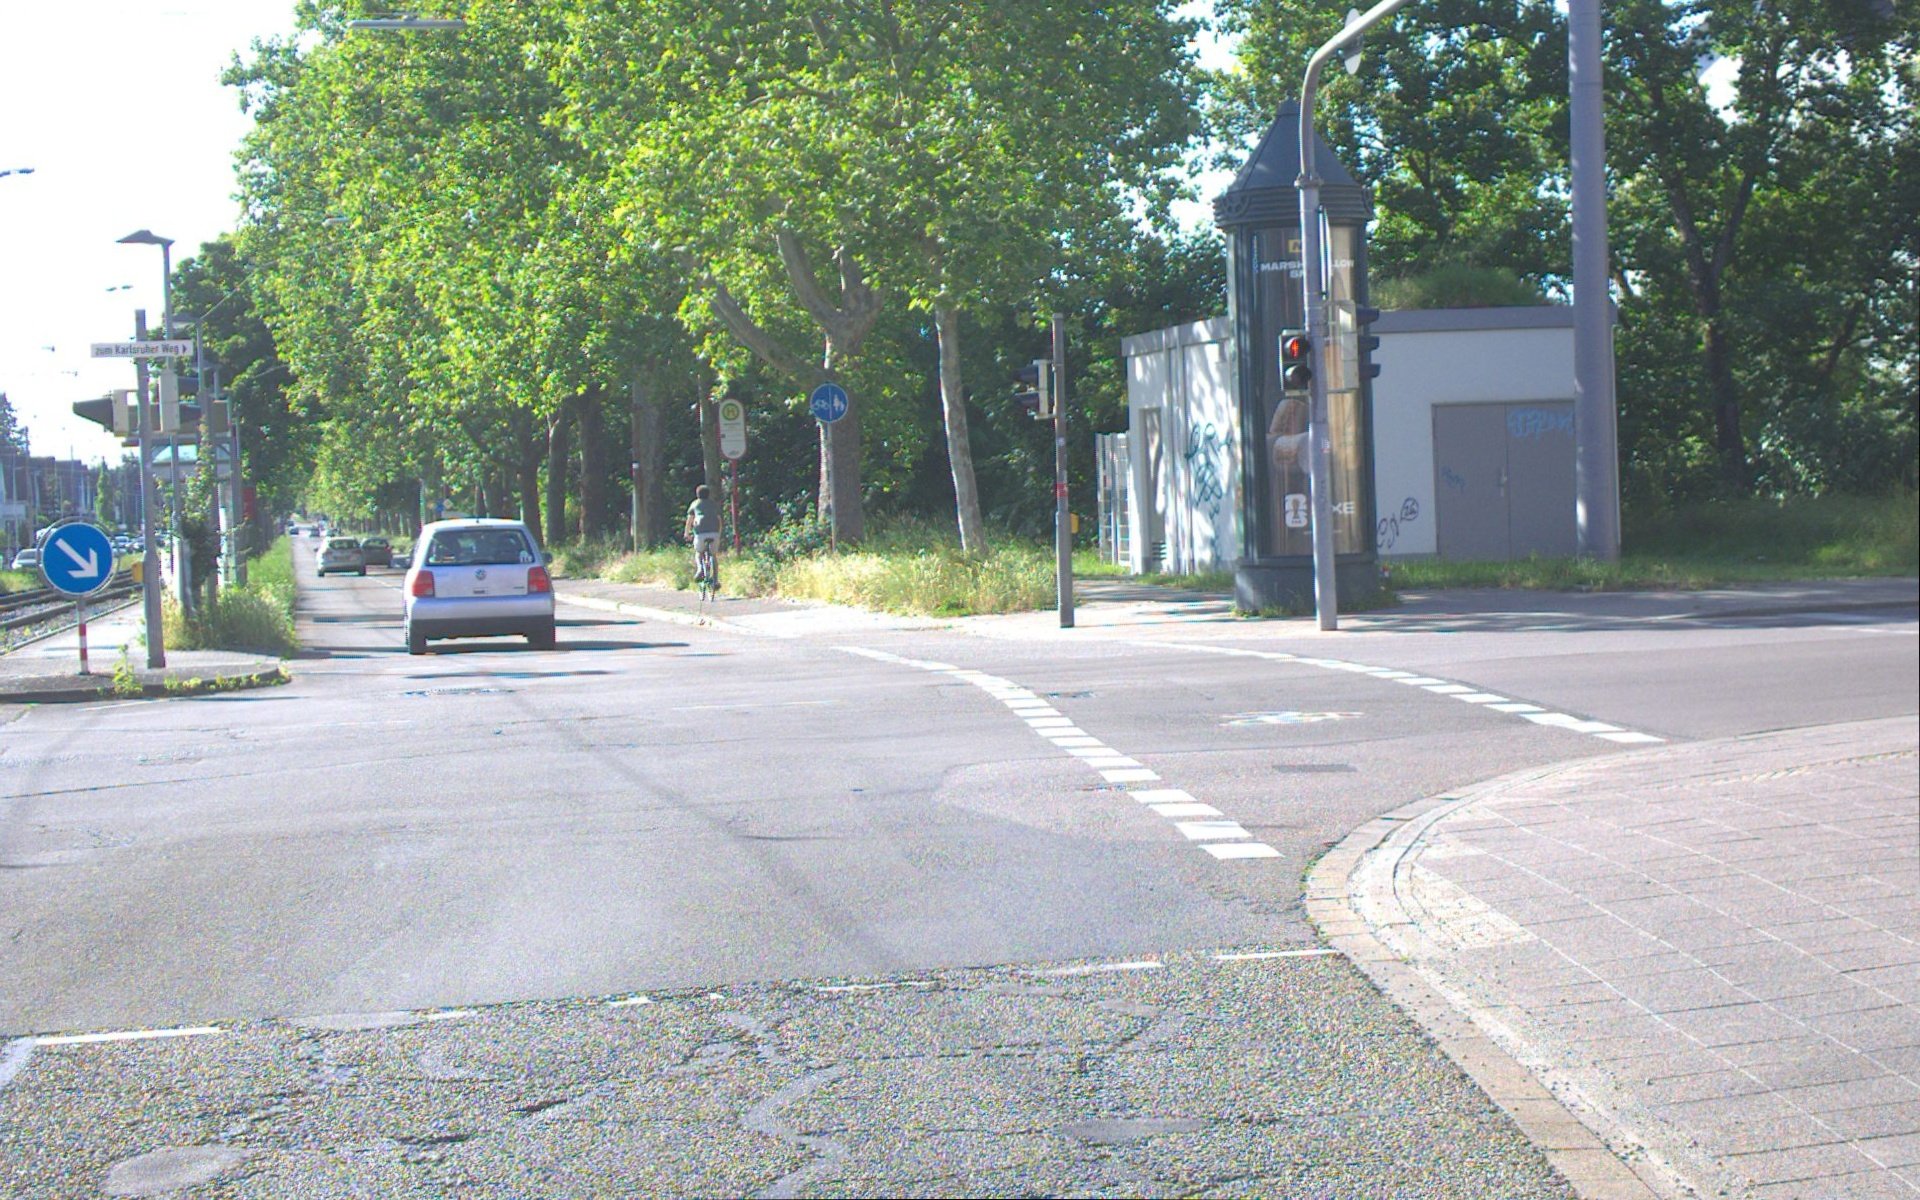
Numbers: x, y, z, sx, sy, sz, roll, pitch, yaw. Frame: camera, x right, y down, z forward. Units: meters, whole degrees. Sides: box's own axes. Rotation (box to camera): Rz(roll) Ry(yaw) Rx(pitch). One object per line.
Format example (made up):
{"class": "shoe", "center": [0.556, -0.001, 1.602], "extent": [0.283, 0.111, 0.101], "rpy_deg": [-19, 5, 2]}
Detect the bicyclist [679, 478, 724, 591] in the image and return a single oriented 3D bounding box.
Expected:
{"class": "bicyclist", "center": [-4.131, -1.047, 54.947], "extent": [0.534, 1.763, 0.713], "rpy_deg": [-3, 1, -13]}

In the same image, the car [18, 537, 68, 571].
{"class": "car", "center": [-45.676, -2.320, 171.297], "extent": [1.920, 1.561, 4.001], "rpy_deg": [-3, 2, -9]}

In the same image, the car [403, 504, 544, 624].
{"class": "car", "center": [-6.914, -0.536, 48.632], "extent": [1.750, 1.599, 3.751], "rpy_deg": [1, 1, -11]}

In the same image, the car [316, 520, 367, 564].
{"class": "car", "center": [-23.449, -2.209, 130.259], "extent": [1.750, 1.599, 3.582], "rpy_deg": [-3, 2, -12]}

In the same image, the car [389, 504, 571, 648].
{"class": "car", "center": [-5.329, -0.291, 38.215], "extent": [1.867, 1.481, 3.556], "rpy_deg": [-2, 1, -8]}

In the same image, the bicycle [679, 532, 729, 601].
{"class": "bicycle", "center": [-4.092, -0.545, 54.869], "extent": [0.536, 1.062, 1.434], "rpy_deg": [-3, 2, -13]}
